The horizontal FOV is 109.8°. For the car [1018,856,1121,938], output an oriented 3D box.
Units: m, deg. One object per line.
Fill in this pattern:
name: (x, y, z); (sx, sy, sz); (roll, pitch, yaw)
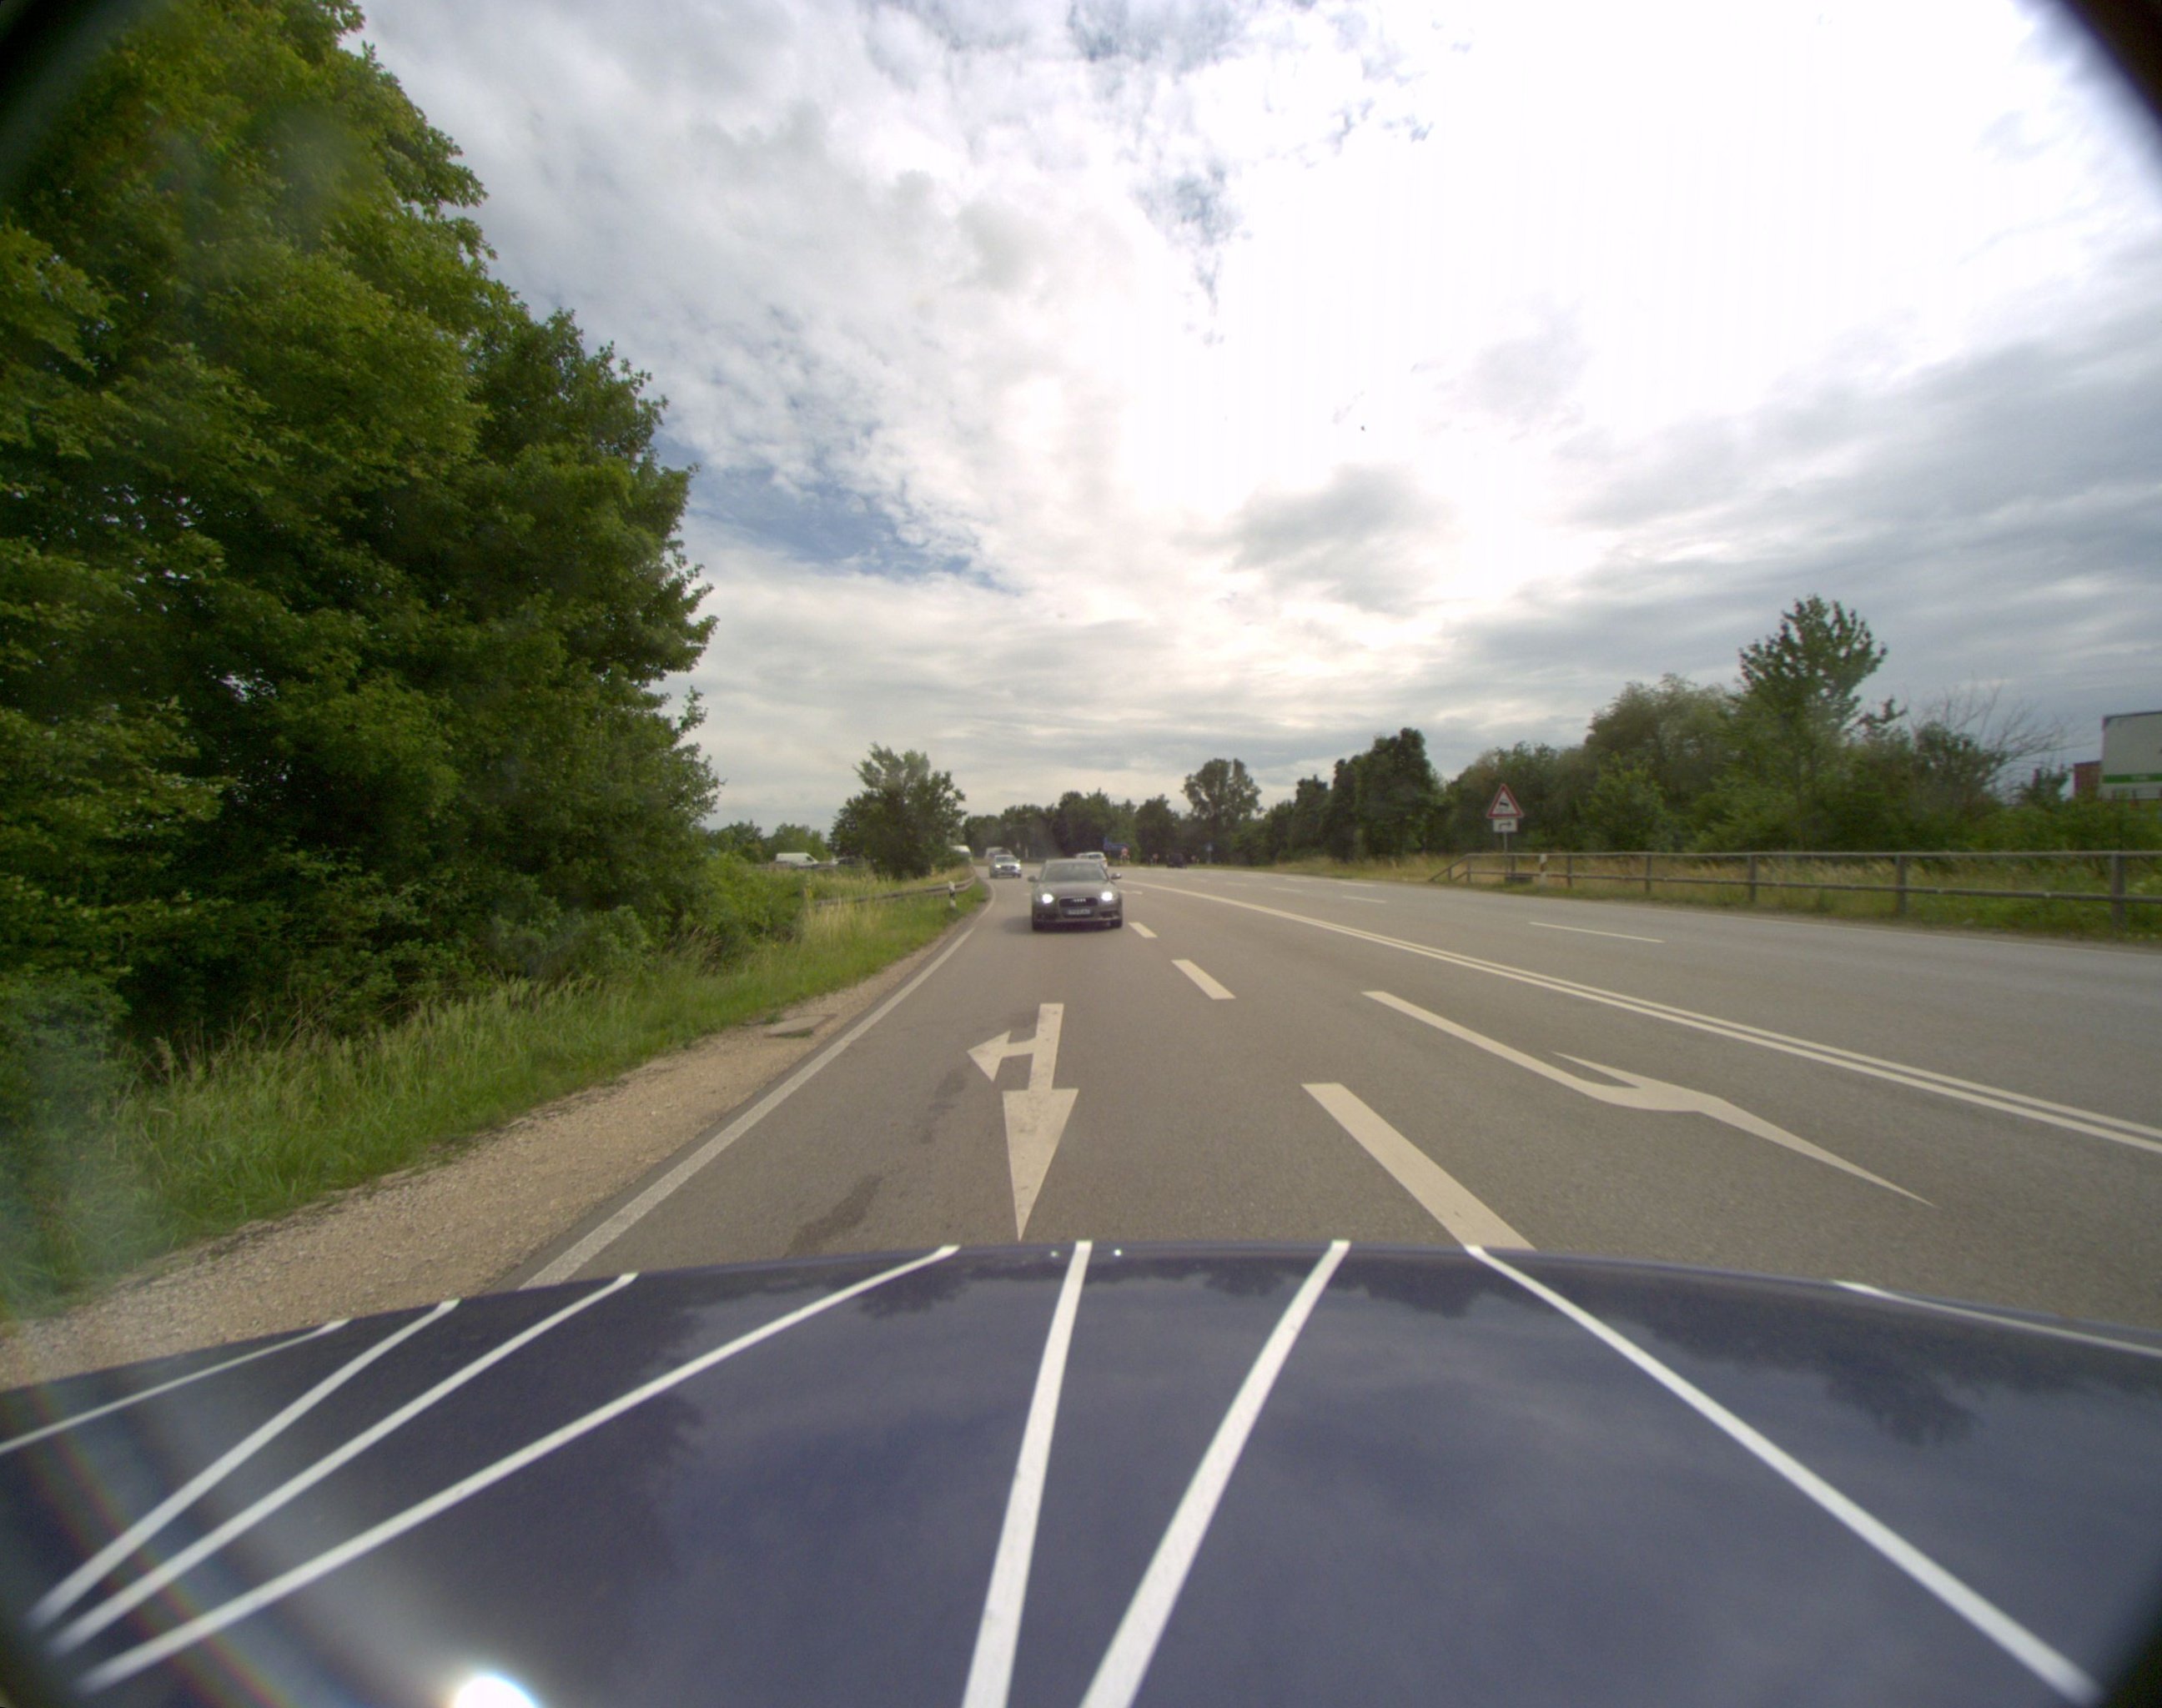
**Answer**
car: (-0.231, 0.846, 16.840); (1.957, 1.527, 4.000); (-2, 0, 0)

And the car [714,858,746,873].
car: (-50.370, 1.632, 109.083); (4.004, 2.002, 1.928); (-2, 0, -24)

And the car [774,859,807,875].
car: (-39.078, 1.750, 102.143); (4.005, 2.002, 1.928); (-1, 0, -24)

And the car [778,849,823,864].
car: (-40.276, 0.332, 109.251); (5.904, 2.002, 2.057); (-2, 0, -24)

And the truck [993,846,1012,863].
truck: (-11.892, 0.113, 114.693); (2.031, 2.430, 5.017); (-2, 1, -16)

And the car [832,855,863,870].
car: (-33.511, 1.241, 108.959); (4.004, 2.002, 1.996); (-2, 0, -22)

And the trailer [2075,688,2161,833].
trailer: (39.957, -3.363, 24.629); (2.810, 4.967, 8.967); (-3, 1, -24)

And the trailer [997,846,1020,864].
trailer: (-10.510, 0.089, 109.725); (2.031, 2.430, 6.956); (-2, 1, -15)

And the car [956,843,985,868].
car: (-12.889, 0.191, 88.234); (2.222, 2.654, 5.232); (-3, -1, -19)

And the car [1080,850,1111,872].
car: (1.107, 0.522, 58.648); (1.735, 1.509, 3.997); (-3, 1, -8)

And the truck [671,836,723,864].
truck: (-48.984, -0.509, 96.953); (5.604, 3.286, 2.387); (-3, 1, -28)

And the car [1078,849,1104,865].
car: (0.996, 0.313, 76.987); (1.883, 1.480, 3.740); (-2, 0, -11)

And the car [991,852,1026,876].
car: (-5.191, 0.694, 53.833); (2.022, 1.603, 4.276); (-2, 0, -11)

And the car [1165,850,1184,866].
car: (10.991, 0.473, 88.951); (1.997, 1.787, 4.322); (-2, 0, 9)
